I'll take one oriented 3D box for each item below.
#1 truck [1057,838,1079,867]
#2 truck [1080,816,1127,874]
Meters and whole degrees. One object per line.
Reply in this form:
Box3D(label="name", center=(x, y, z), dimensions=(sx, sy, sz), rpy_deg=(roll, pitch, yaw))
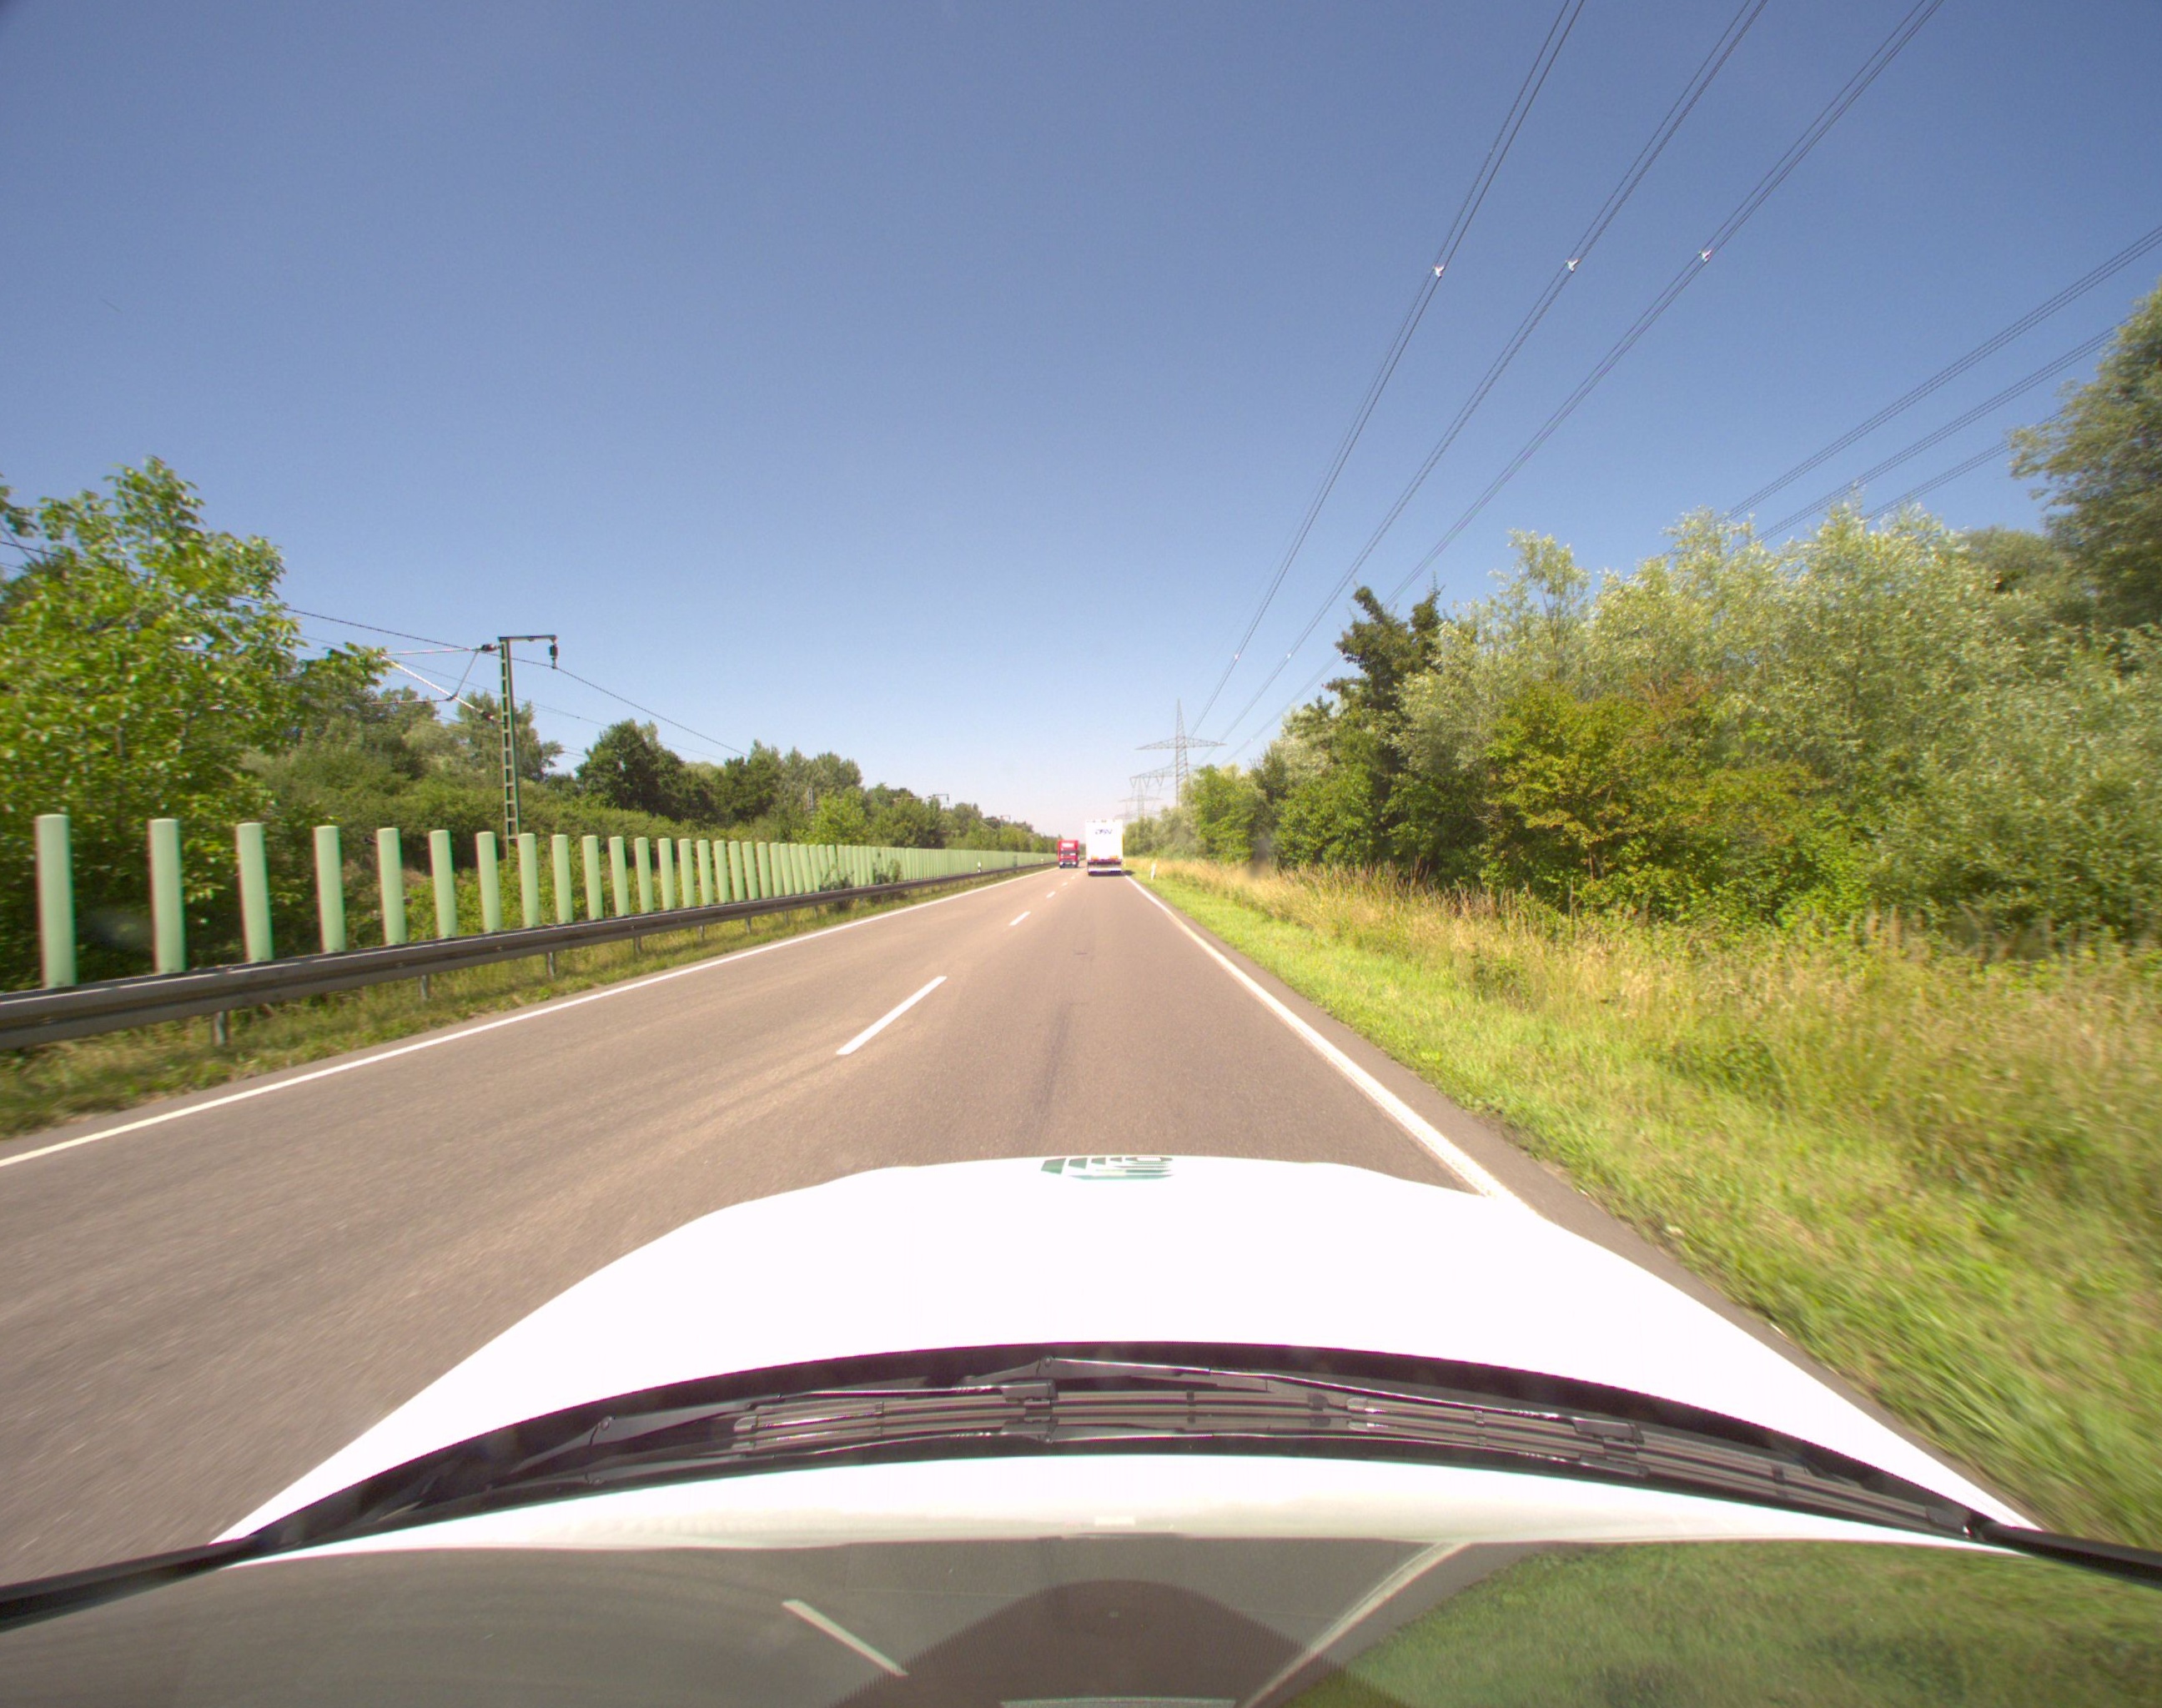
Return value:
Box3D(label="truck", center=(-1.627, -0.202, 106.931), dimensions=(2.725, 3.599, 9.525), rpy_deg=(-2, 0, 0))
Box3D(label="truck", center=(1.672, -0.631, 63.172), dimensions=(3.181, 4.042, 12.008), rpy_deg=(-2, 0, 1))
